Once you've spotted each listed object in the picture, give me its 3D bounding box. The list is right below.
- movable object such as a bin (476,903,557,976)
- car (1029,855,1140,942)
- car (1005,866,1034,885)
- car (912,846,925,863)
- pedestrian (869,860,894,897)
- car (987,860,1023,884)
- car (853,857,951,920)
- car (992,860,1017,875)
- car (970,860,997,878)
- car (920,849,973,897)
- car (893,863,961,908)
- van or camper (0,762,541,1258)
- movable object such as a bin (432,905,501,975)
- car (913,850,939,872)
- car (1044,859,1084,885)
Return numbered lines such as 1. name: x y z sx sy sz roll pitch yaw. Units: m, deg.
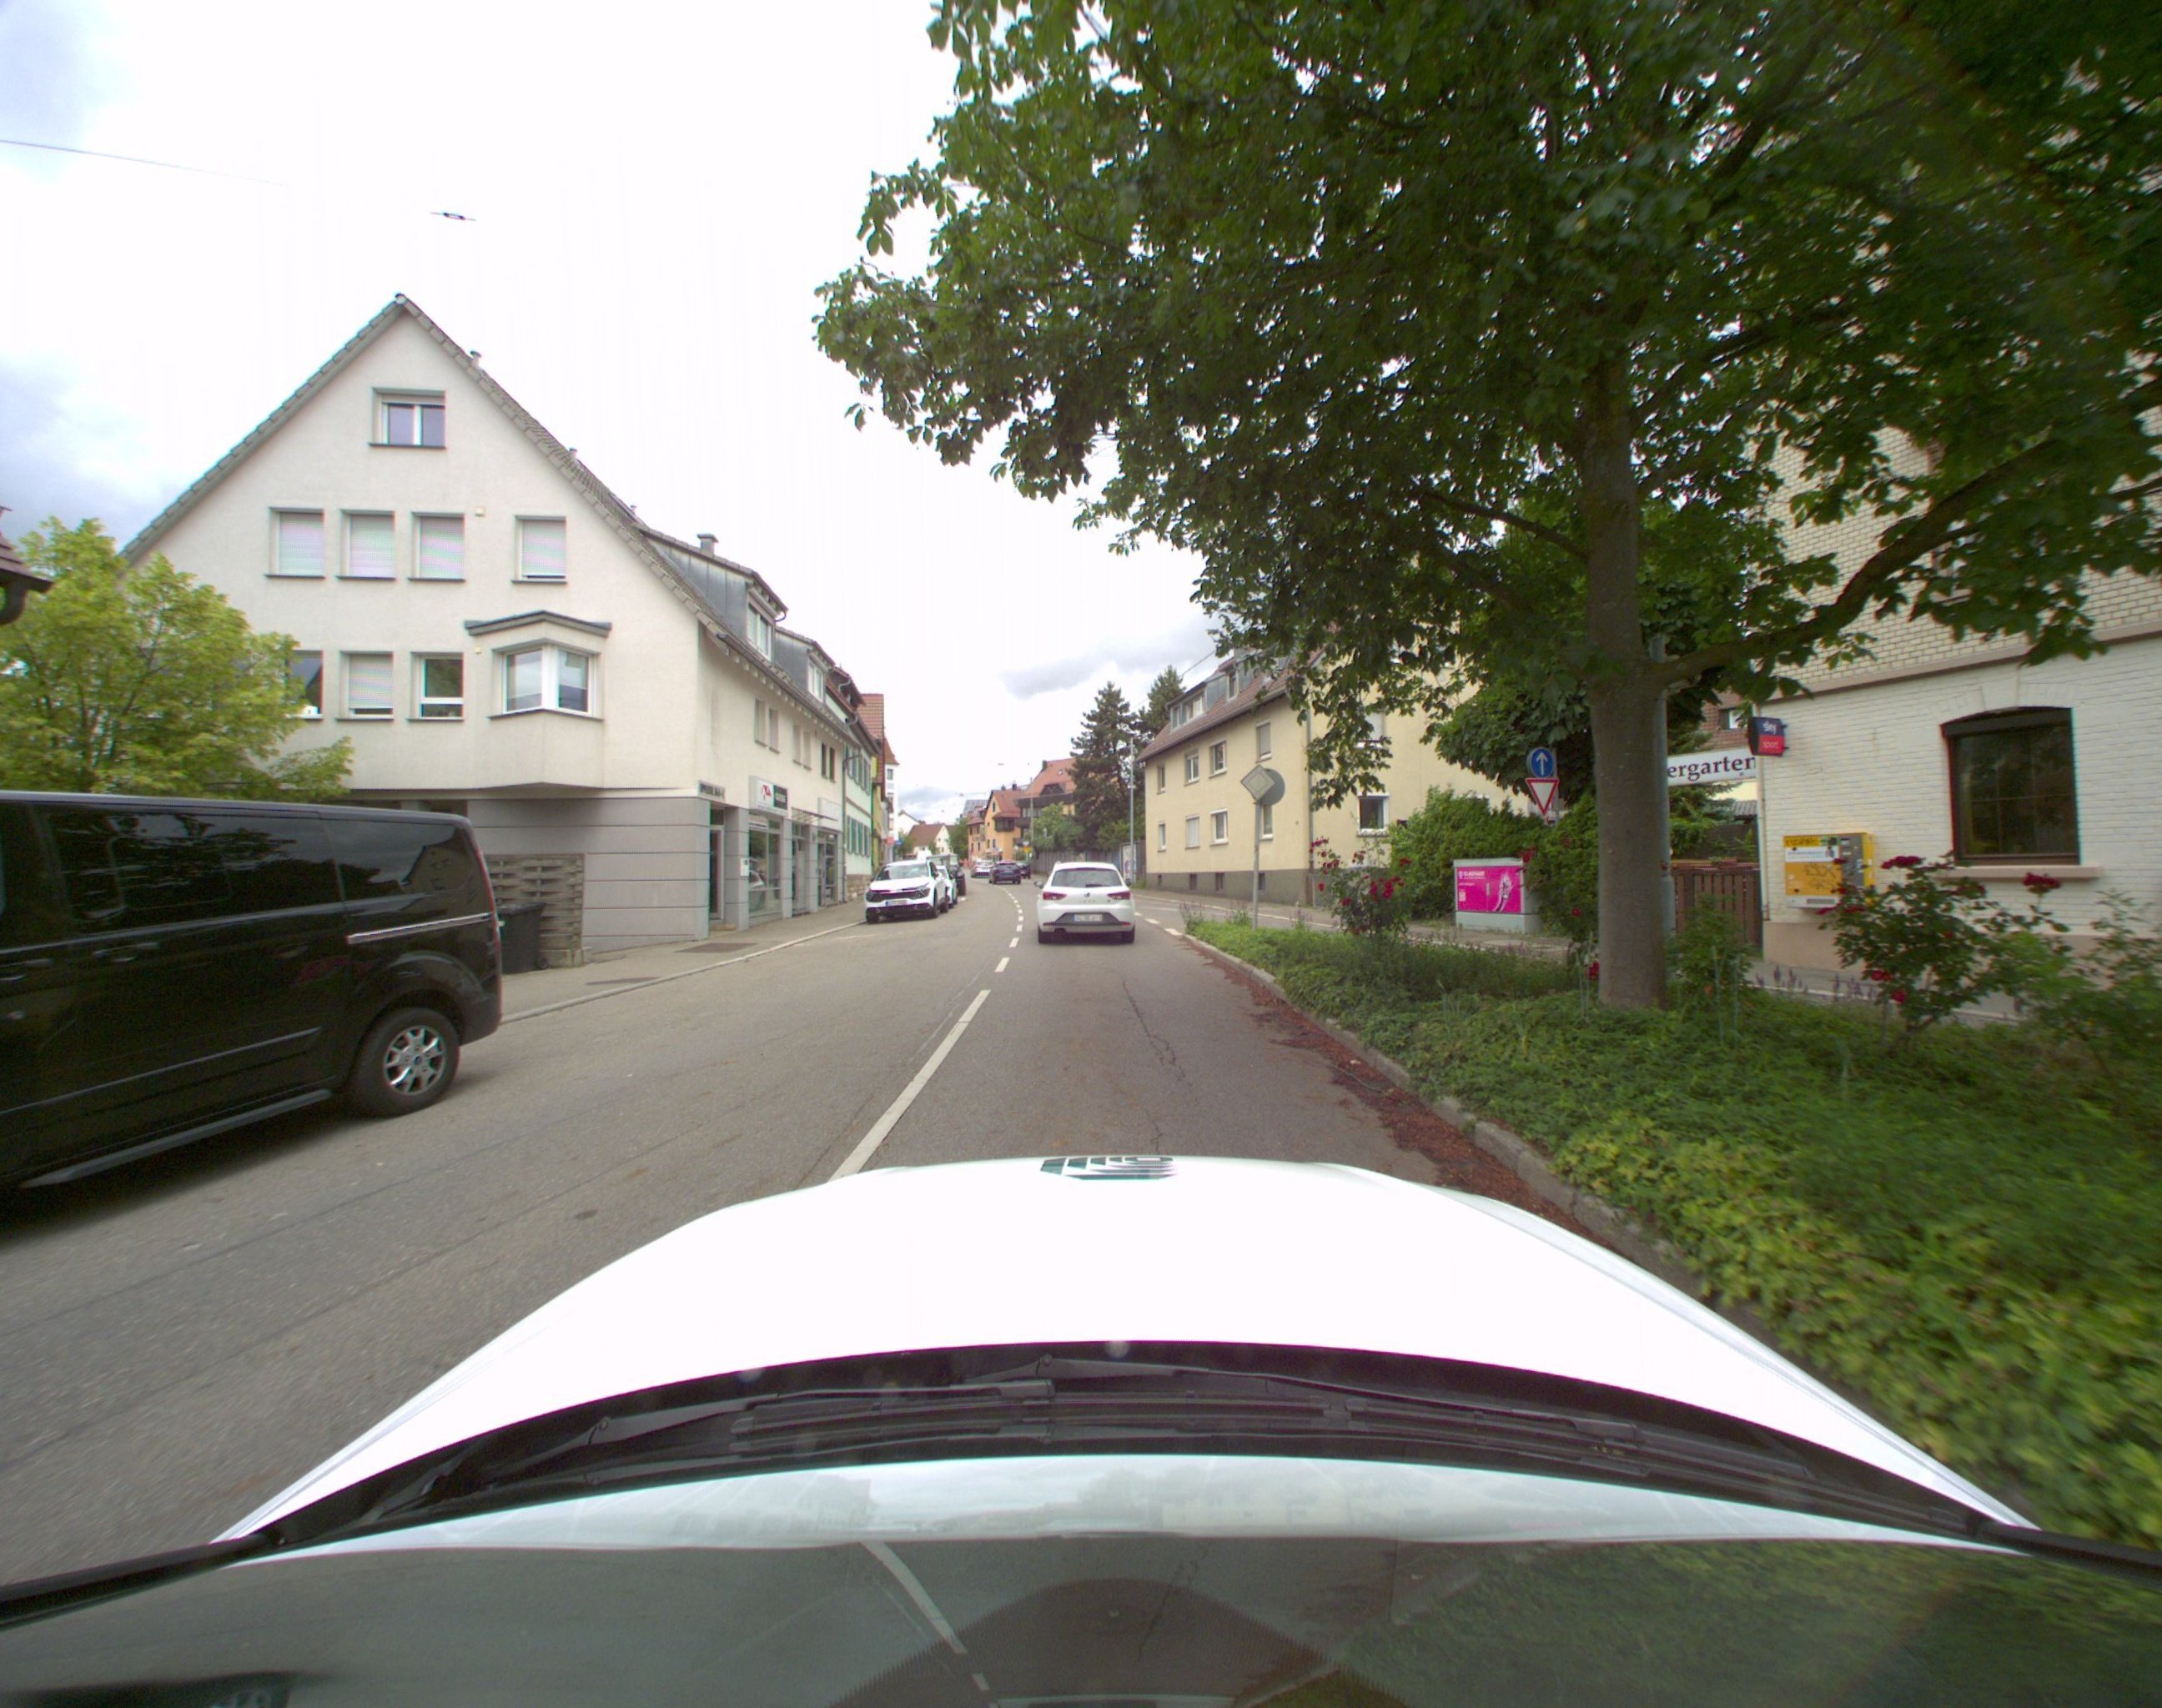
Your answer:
1. movable object such as a bin: -8.659 1.297 12.521 0.663 1.018 0.795 -1 1 0
2. car: -0.054 0.775 15.778 1.756 1.452 3.992 0 -1 -6
3. car: -5.172 1.769 68.311 1.761 1.452 3.980 0 -1 -15
4. car: -27.602 0.069 138.290 2.153 2.687 5.374 1 0 -11
5. pedestrian: -8.157 1.003 33.340 0.805 1.500 0.973 1 -1 -7
6. car: -4.865 1.140 51.657 1.760 1.452 3.982 0 0 -13
7. car: -4.988 0.890 23.361 1.994 1.633 4.851 0 0 -4
8. car: -7.495 1.299 79.517 1.761 1.452 3.980 0 -1 -15
9. car: -8.164 1.203 68.096 1.761 1.452 3.981 0 -1 -14
10. car: -6.295 0.838 38.486 1.990 2.013 4.662 -3 0 -5
11. car: -5.302 1.031 28.438 1.995 1.436 3.910 0 0 -6
12. van or camper: -5.394 0.672 3.897 2.065 2.005 4.863 -3 0 4
13. movable object such as a bin: -9.295 1.288 12.336 0.531 0.971 0.636 1 1 4
14. car: -19.413 0.901 102.297 2.145 2.687 5.545 1 0 1
15. car: -1.051 1.077 49.309 1.759 1.452 3.985 2 -1 -11
